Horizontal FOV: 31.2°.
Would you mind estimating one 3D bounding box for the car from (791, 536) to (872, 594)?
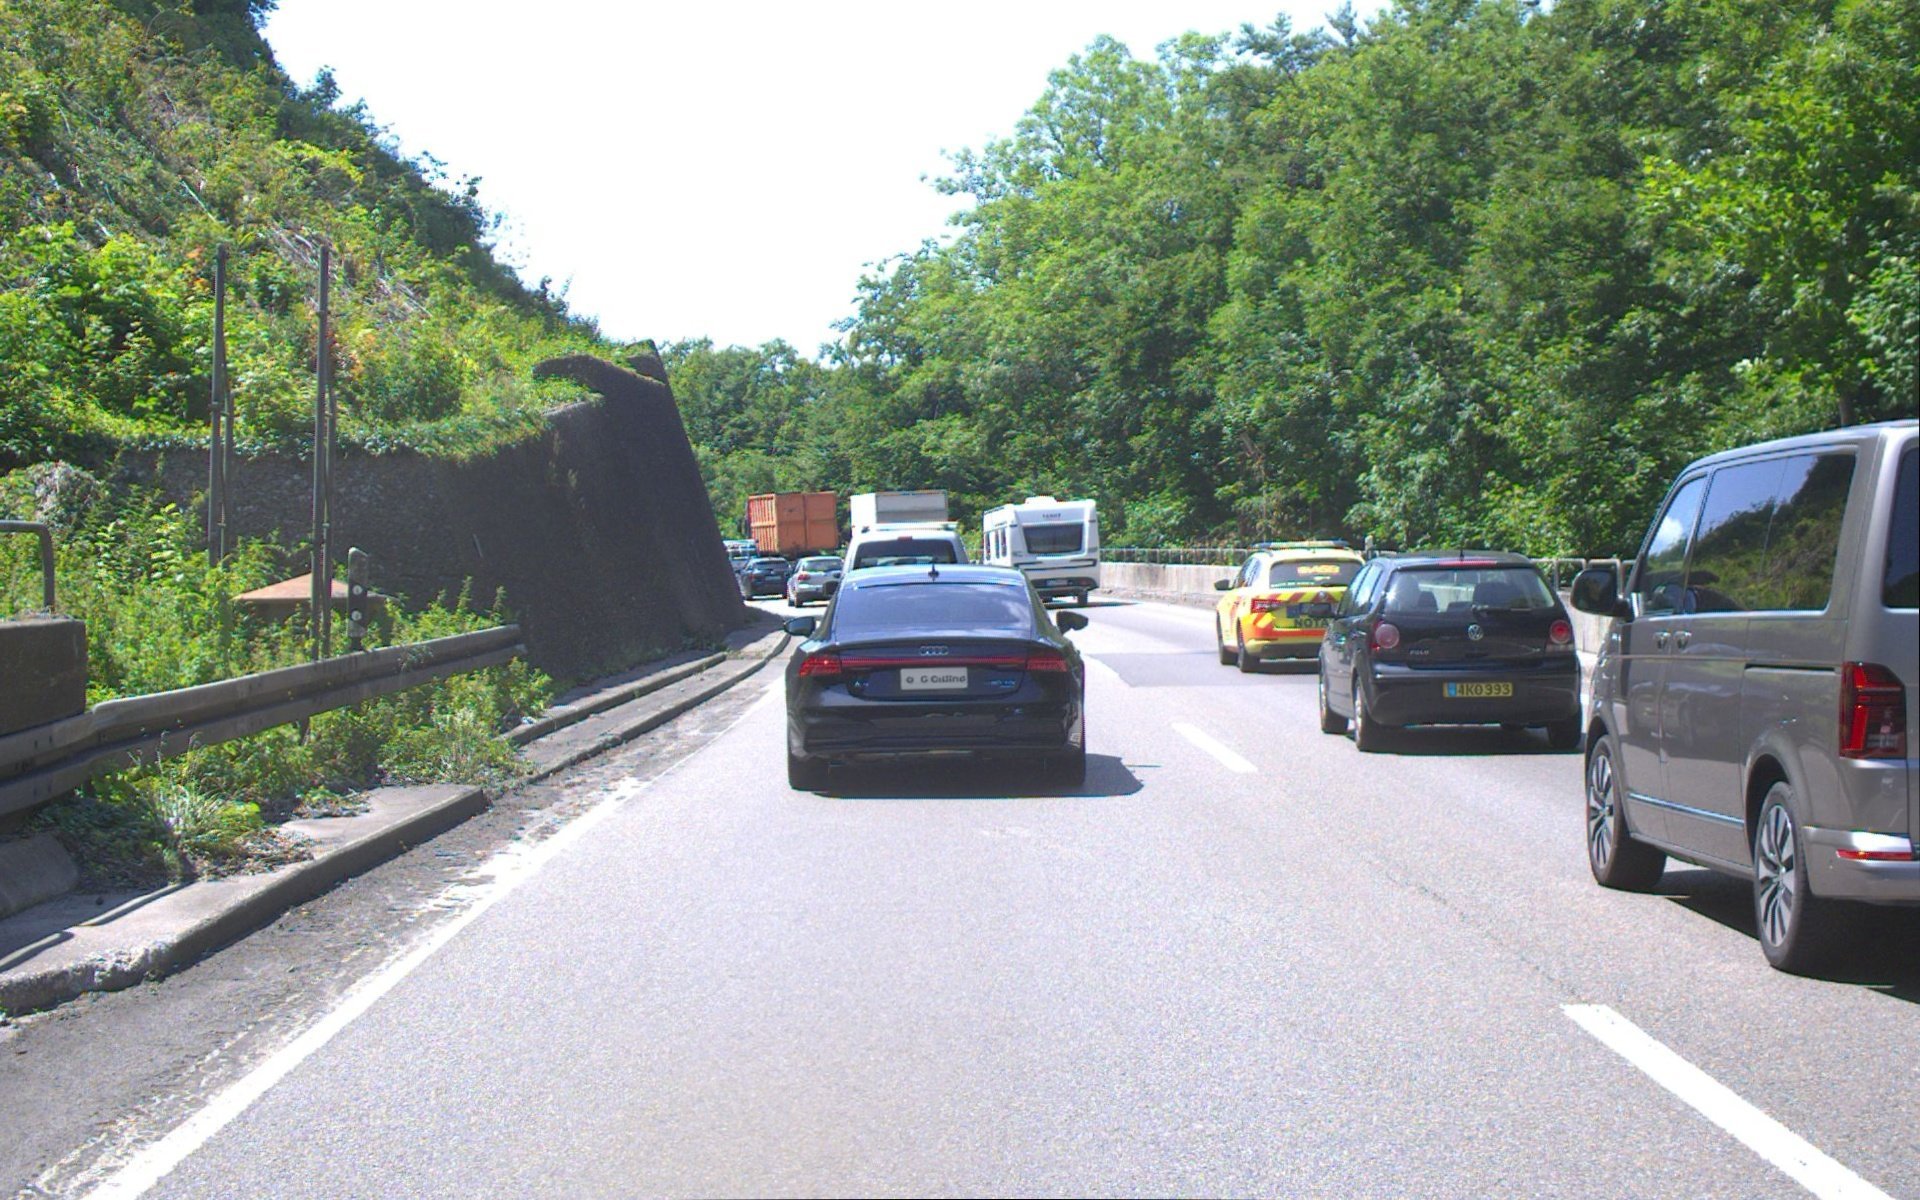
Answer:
[{"bbox_3d":[-3.867,-1.054,102.749,1.993,1.612,4.001,1,1,-8],"label":"car"}]

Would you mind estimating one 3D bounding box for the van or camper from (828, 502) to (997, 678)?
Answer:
[{"bbox_3d":[-0.539,-0.157,40.936,1.853,1.935,4.165,2,1,0],"label":"van or camper"}]

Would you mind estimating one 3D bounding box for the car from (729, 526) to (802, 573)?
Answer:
[{"bbox_3d":[-6.645,-1.714,116.883,1.750,1.565,3.772,0,1,-15],"label":"car"}]

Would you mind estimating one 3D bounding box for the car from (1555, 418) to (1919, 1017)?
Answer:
[{"bbox_3d":[3.747,0.332,13.413,1.940,1.924,4.695,1,1,-1],"label":"car"}]

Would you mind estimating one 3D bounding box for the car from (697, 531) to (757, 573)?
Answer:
[{"bbox_3d":[-8.929,-1.859,131.573,1.750,1.565,3.772,1,1,-12],"label":"car"}]

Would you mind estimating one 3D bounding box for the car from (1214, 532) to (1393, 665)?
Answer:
[{"bbox_3d":[4.121,-0.059,41.769,1.808,1.472,4.082,2,1,1],"label":"car"}]

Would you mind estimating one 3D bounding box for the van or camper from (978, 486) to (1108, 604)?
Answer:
[{"bbox_3d":[2.029,-1.397,86.529,2.603,2.845,6.337,1,1,-4],"label":"van or camper"}]

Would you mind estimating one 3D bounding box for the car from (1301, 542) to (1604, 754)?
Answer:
[{"bbox_3d":[3.661,0.302,26.156,1.685,1.453,4.000,0,1,-1],"label":"car"}]

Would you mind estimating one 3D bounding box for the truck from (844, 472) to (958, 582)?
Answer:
[{"bbox_3d":[-2.148,-2.626,122.328,2.924,3.674,7.726,2,1,-9],"label":"truck"}]

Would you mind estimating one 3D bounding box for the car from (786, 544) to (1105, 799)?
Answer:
[{"bbox_3d":[-0.187,0.390,22.692,1.904,1.484,4.380,0,1,-3],"label":"car"}]

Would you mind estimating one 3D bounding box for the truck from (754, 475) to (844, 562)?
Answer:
[{"bbox_3d":[-6.820,-3.440,144.874,3.163,3.456,8.224,2,1,-6],"label":"truck"}]
